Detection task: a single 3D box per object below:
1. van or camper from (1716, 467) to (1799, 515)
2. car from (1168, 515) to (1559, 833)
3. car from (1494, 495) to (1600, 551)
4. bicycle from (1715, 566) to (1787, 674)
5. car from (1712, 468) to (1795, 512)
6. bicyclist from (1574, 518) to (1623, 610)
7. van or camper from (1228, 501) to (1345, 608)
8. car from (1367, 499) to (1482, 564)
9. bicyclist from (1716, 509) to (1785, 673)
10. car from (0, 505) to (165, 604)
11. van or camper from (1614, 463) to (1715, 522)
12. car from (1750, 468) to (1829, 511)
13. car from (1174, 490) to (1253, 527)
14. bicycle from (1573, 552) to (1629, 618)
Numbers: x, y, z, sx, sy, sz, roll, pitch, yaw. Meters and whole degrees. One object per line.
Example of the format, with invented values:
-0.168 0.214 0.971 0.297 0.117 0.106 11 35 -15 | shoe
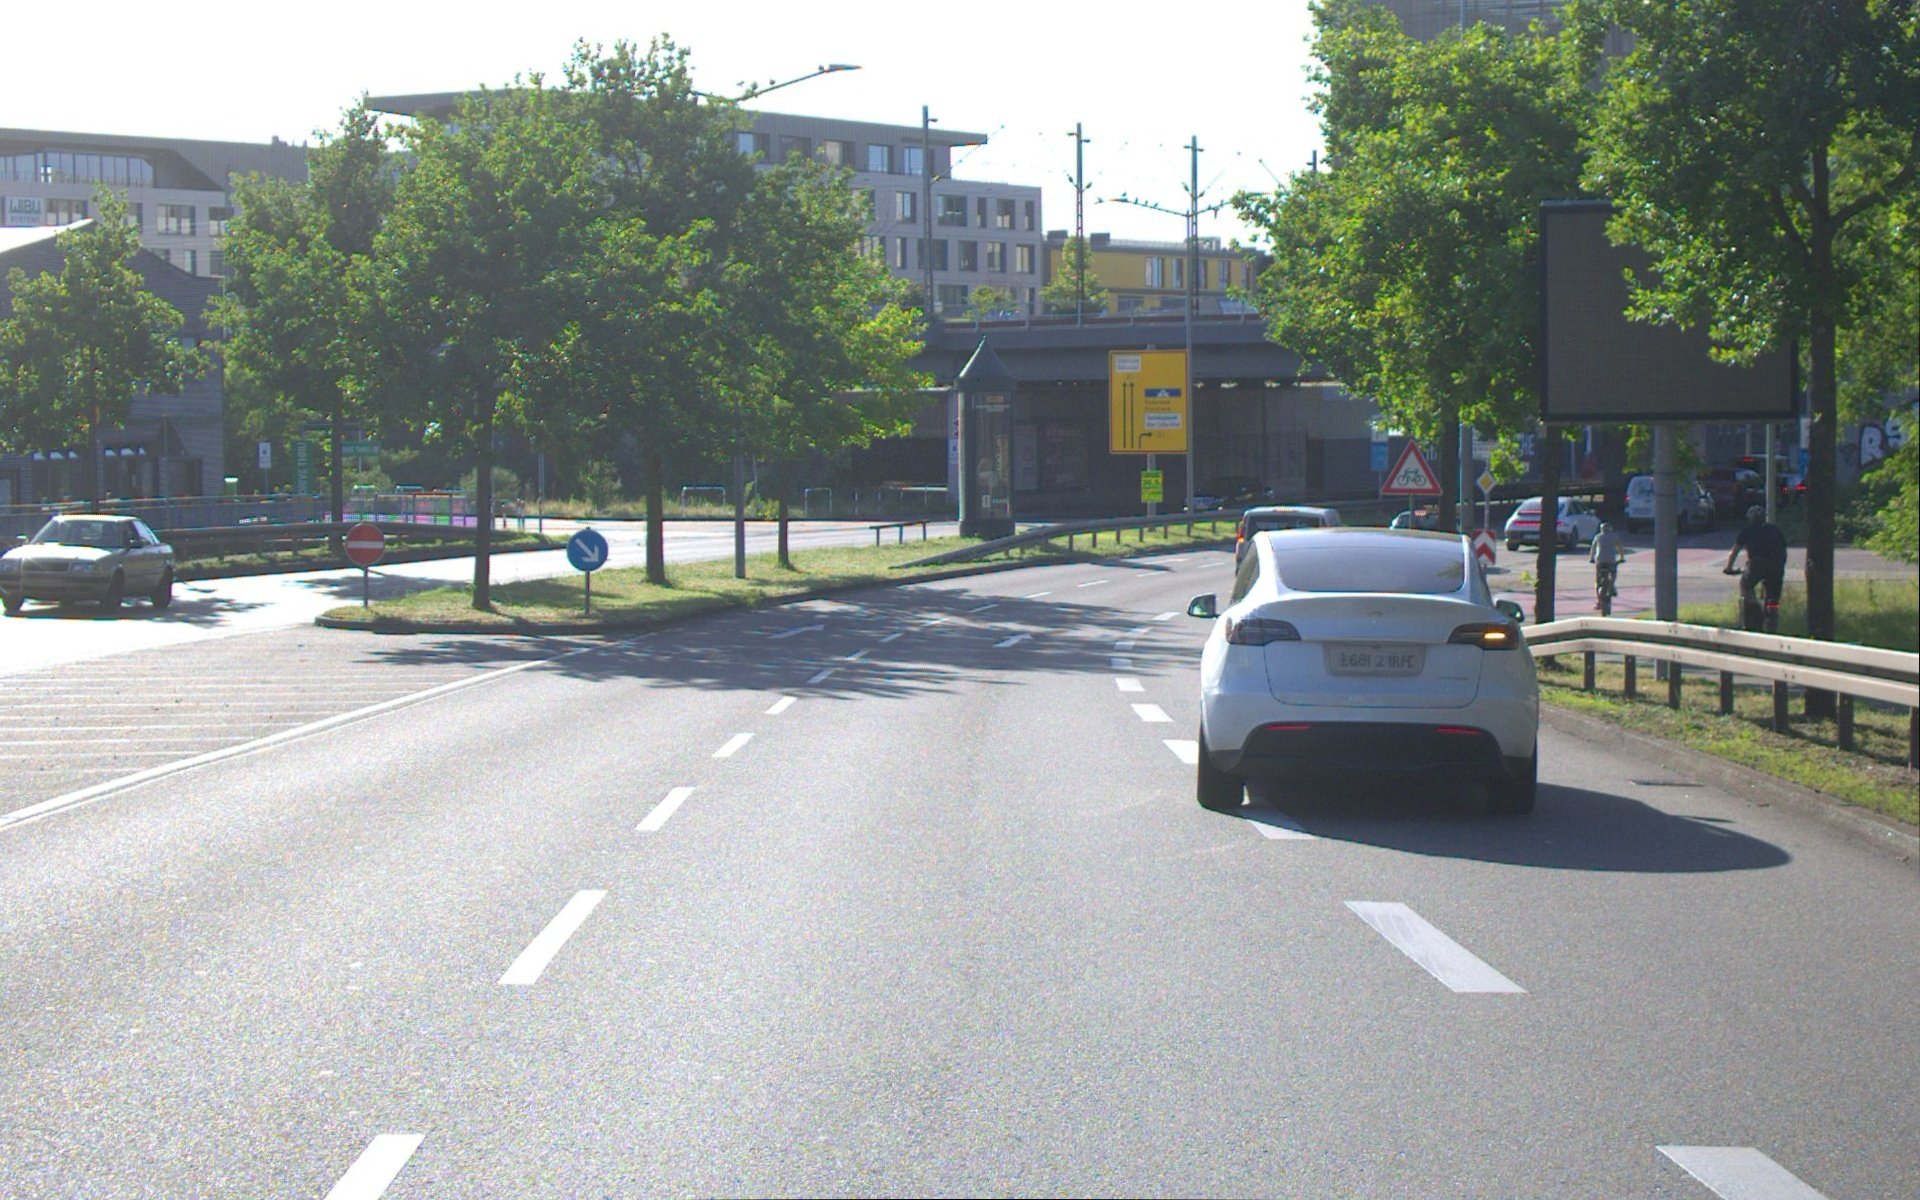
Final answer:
31.581 -4.340 136.055 1.758 1.807 3.951 3 4 36 | van or camper
2.289 0.355 20.579 1.914 1.635 4.410 2 1 2 | car
16.549 -2.184 96.779 1.766 1.470 4.283 2 3 26 | car
8.743 0.205 38.034 0.695 1.091 2.117 -1 2 11 | bicycle
28.659 -3.973 124.109 1.711 1.517 3.736 2 4 34 | car
11.588 -0.657 62.365 0.746 1.613 0.912 -1 2 17 | bicyclist
6.403 -0.928 67.032 1.959 1.877 4.879 1 3 9 | van or camper
11.542 -1.708 85.244 1.607 1.429 3.673 3 4 28 | car
8.715 -0.106 37.937 0.675 1.770 0.948 -1 2 12 | bicyclist
-13.108 -0.707 51.257 1.729 1.381 4.497 1 1 -4 | car
22.609 -3.479 110.207 1.829 1.784 4.538 3 4 29 | van or camper
31.314 -4.186 129.768 1.711 1.517 3.736 2 4 34 | car
9.414 -3.407 127.488 1.801 1.305 4.611 2 2 19 | car
11.655 -0.277 62.464 0.743 1.108 2.450 -1 2 16 | bicycle
